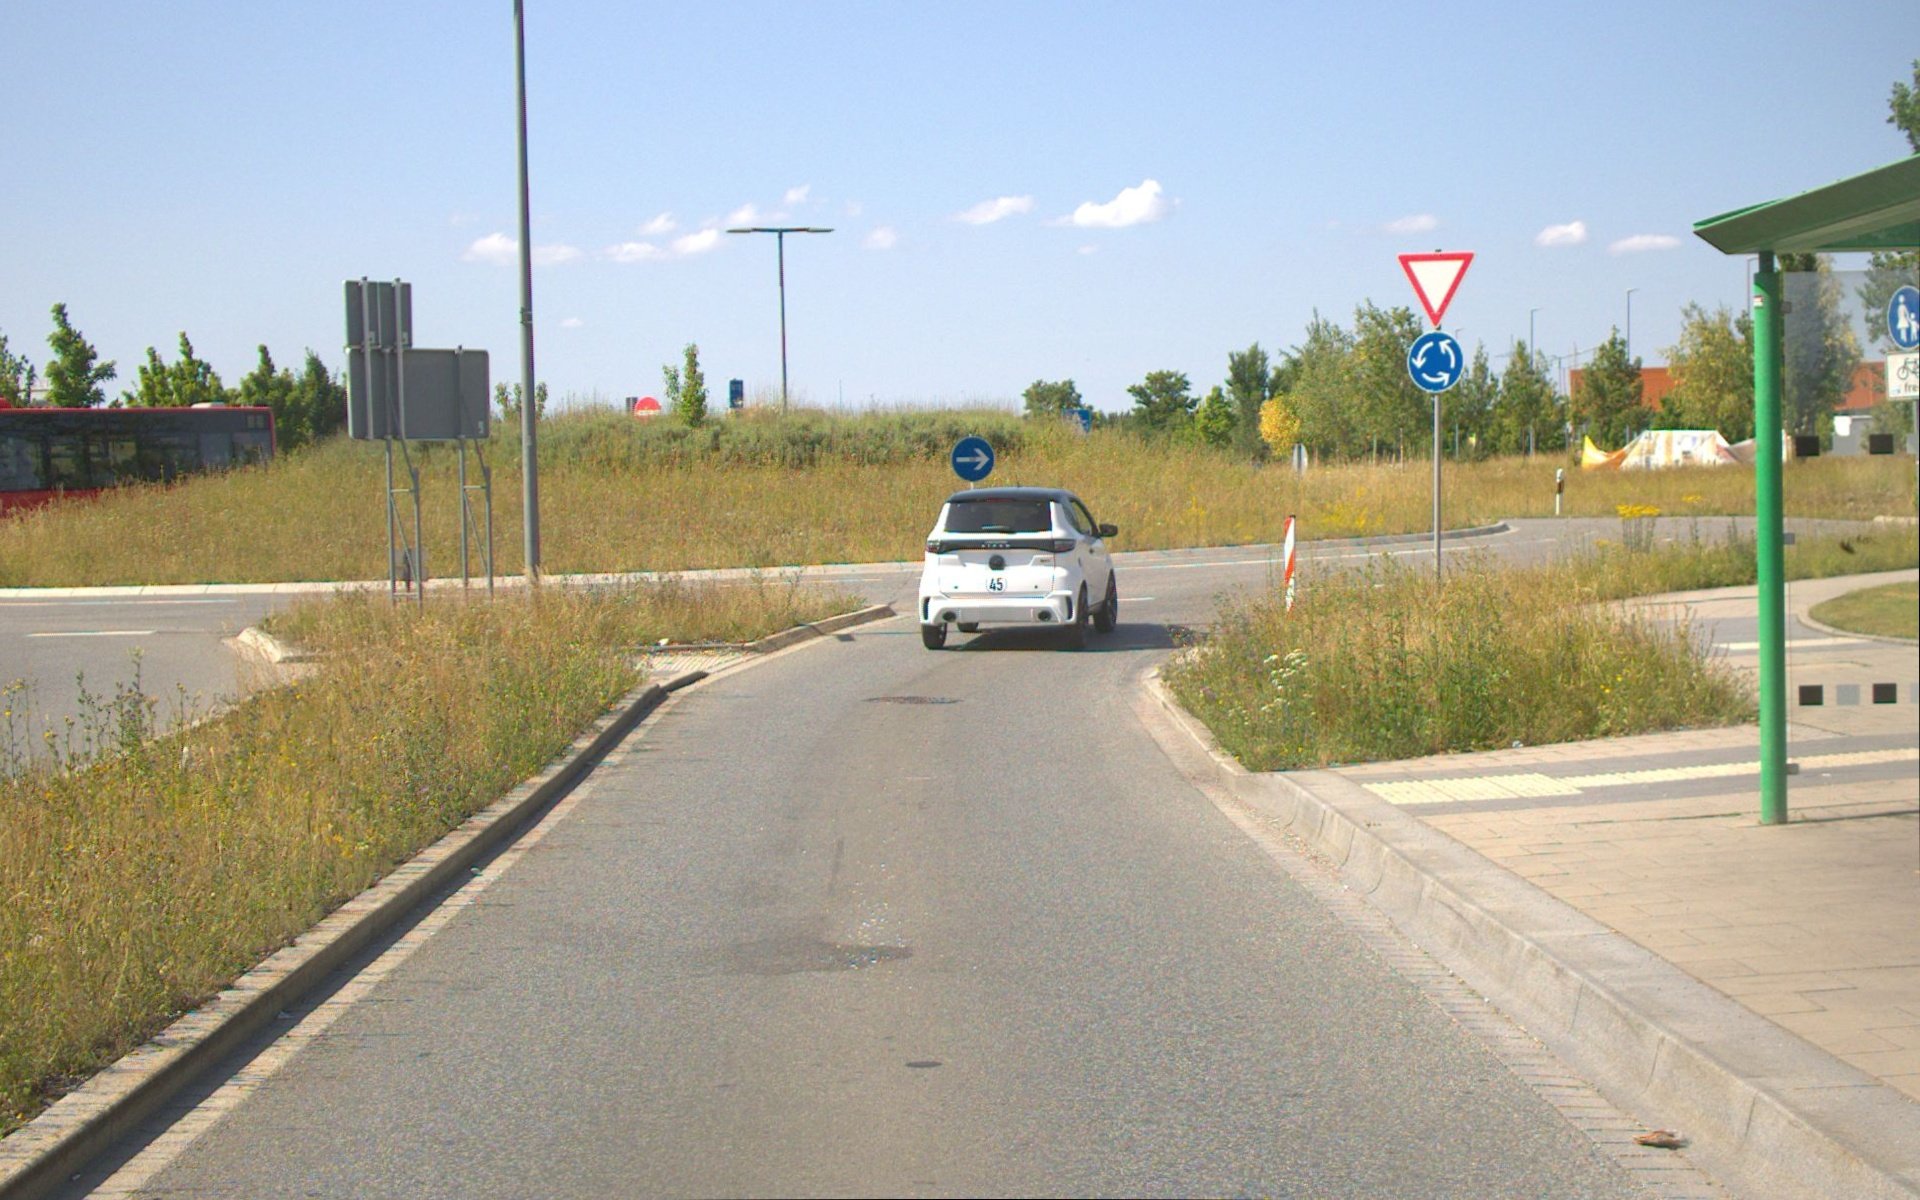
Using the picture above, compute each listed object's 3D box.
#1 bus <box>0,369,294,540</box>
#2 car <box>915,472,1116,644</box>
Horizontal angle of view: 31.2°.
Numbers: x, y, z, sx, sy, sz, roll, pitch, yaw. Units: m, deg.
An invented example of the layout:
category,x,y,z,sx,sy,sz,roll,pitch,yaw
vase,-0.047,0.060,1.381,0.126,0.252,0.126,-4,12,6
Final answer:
category,x,y,z,sx,sy,sz,roll,pitch,yaw
bus,-17.953,-2.807,66.670,2.791,3.068,12.187,-1,4,28
car,0.588,-0.450,33.053,1.617,1.429,3.792,-1,4,5
